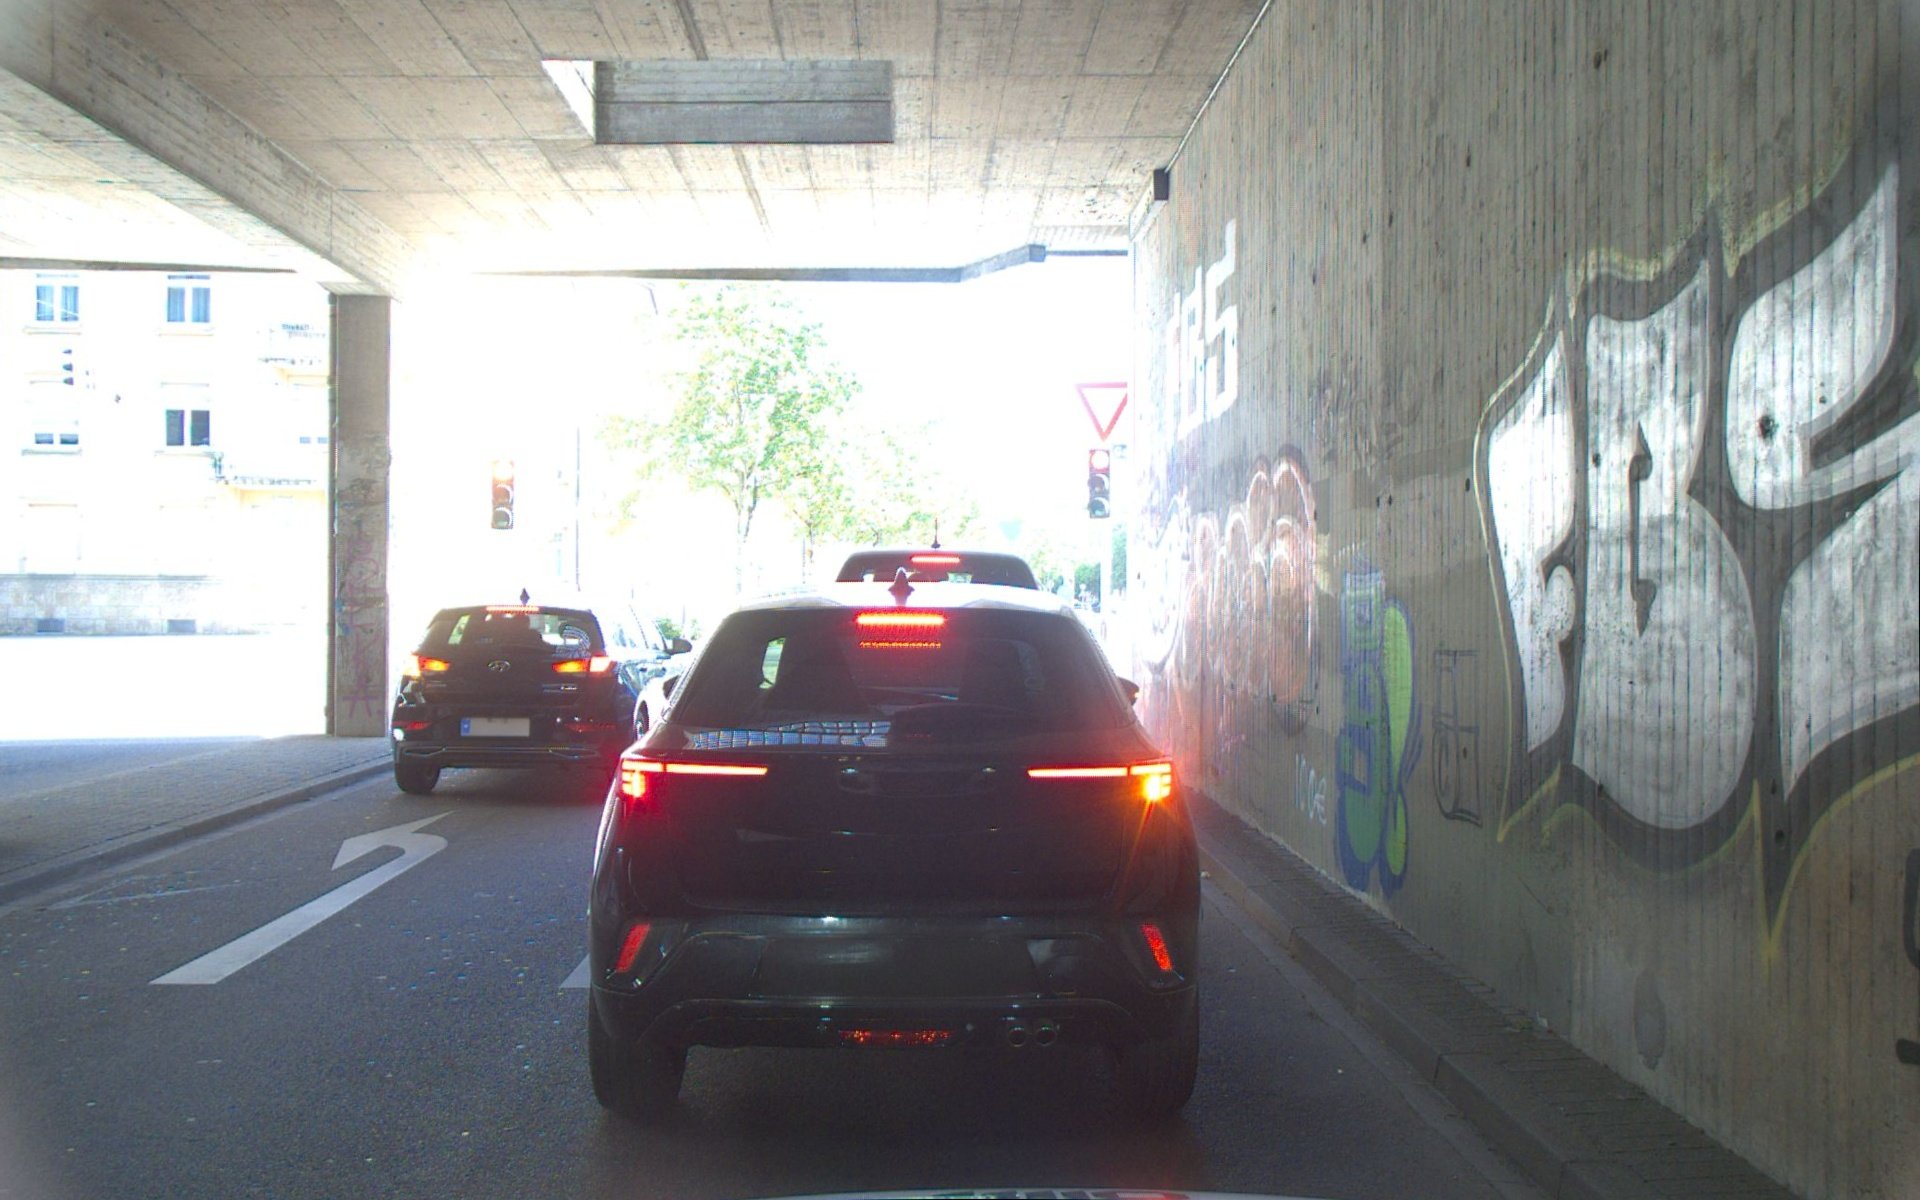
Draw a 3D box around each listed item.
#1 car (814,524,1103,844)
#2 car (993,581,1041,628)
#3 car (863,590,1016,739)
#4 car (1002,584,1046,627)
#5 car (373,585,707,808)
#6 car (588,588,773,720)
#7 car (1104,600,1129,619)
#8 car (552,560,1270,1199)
[{"bbox_3d":[-0.036,0.500,11.987,1.726,1.915,4.145,0,0,-1],"label":"car"},{"bbox_3d":[2.178,0.183,62.181,1.717,1.696,3.946,1,0,3],"label":"car"},{"bbox_3d":[-0.241,0.667,19.201,1.576,1.539,4.053,0,0,-1],"label":"car"},{"bbox_3d":[2.668,0.217,68.307,1.717,1.696,3.946,1,0,3],"label":"car"},{"bbox_3d":[-3.153,0.654,13.185,1.726,1.506,3.843,0,0,-1],"label":"car"},{"bbox_3d":[-3.423,0.615,20.905,1.726,1.506,3.843,0,0,-1],"label":"car"},{"bbox_3d":[14.179,0.863,149.993,1.778,1.696,4.819,1,0,11],"label":"car"},{"bbox_3d":[-0.143,0.682,6.042,1.726,1.558,4.088,0,0,-1],"label":"car"}]
